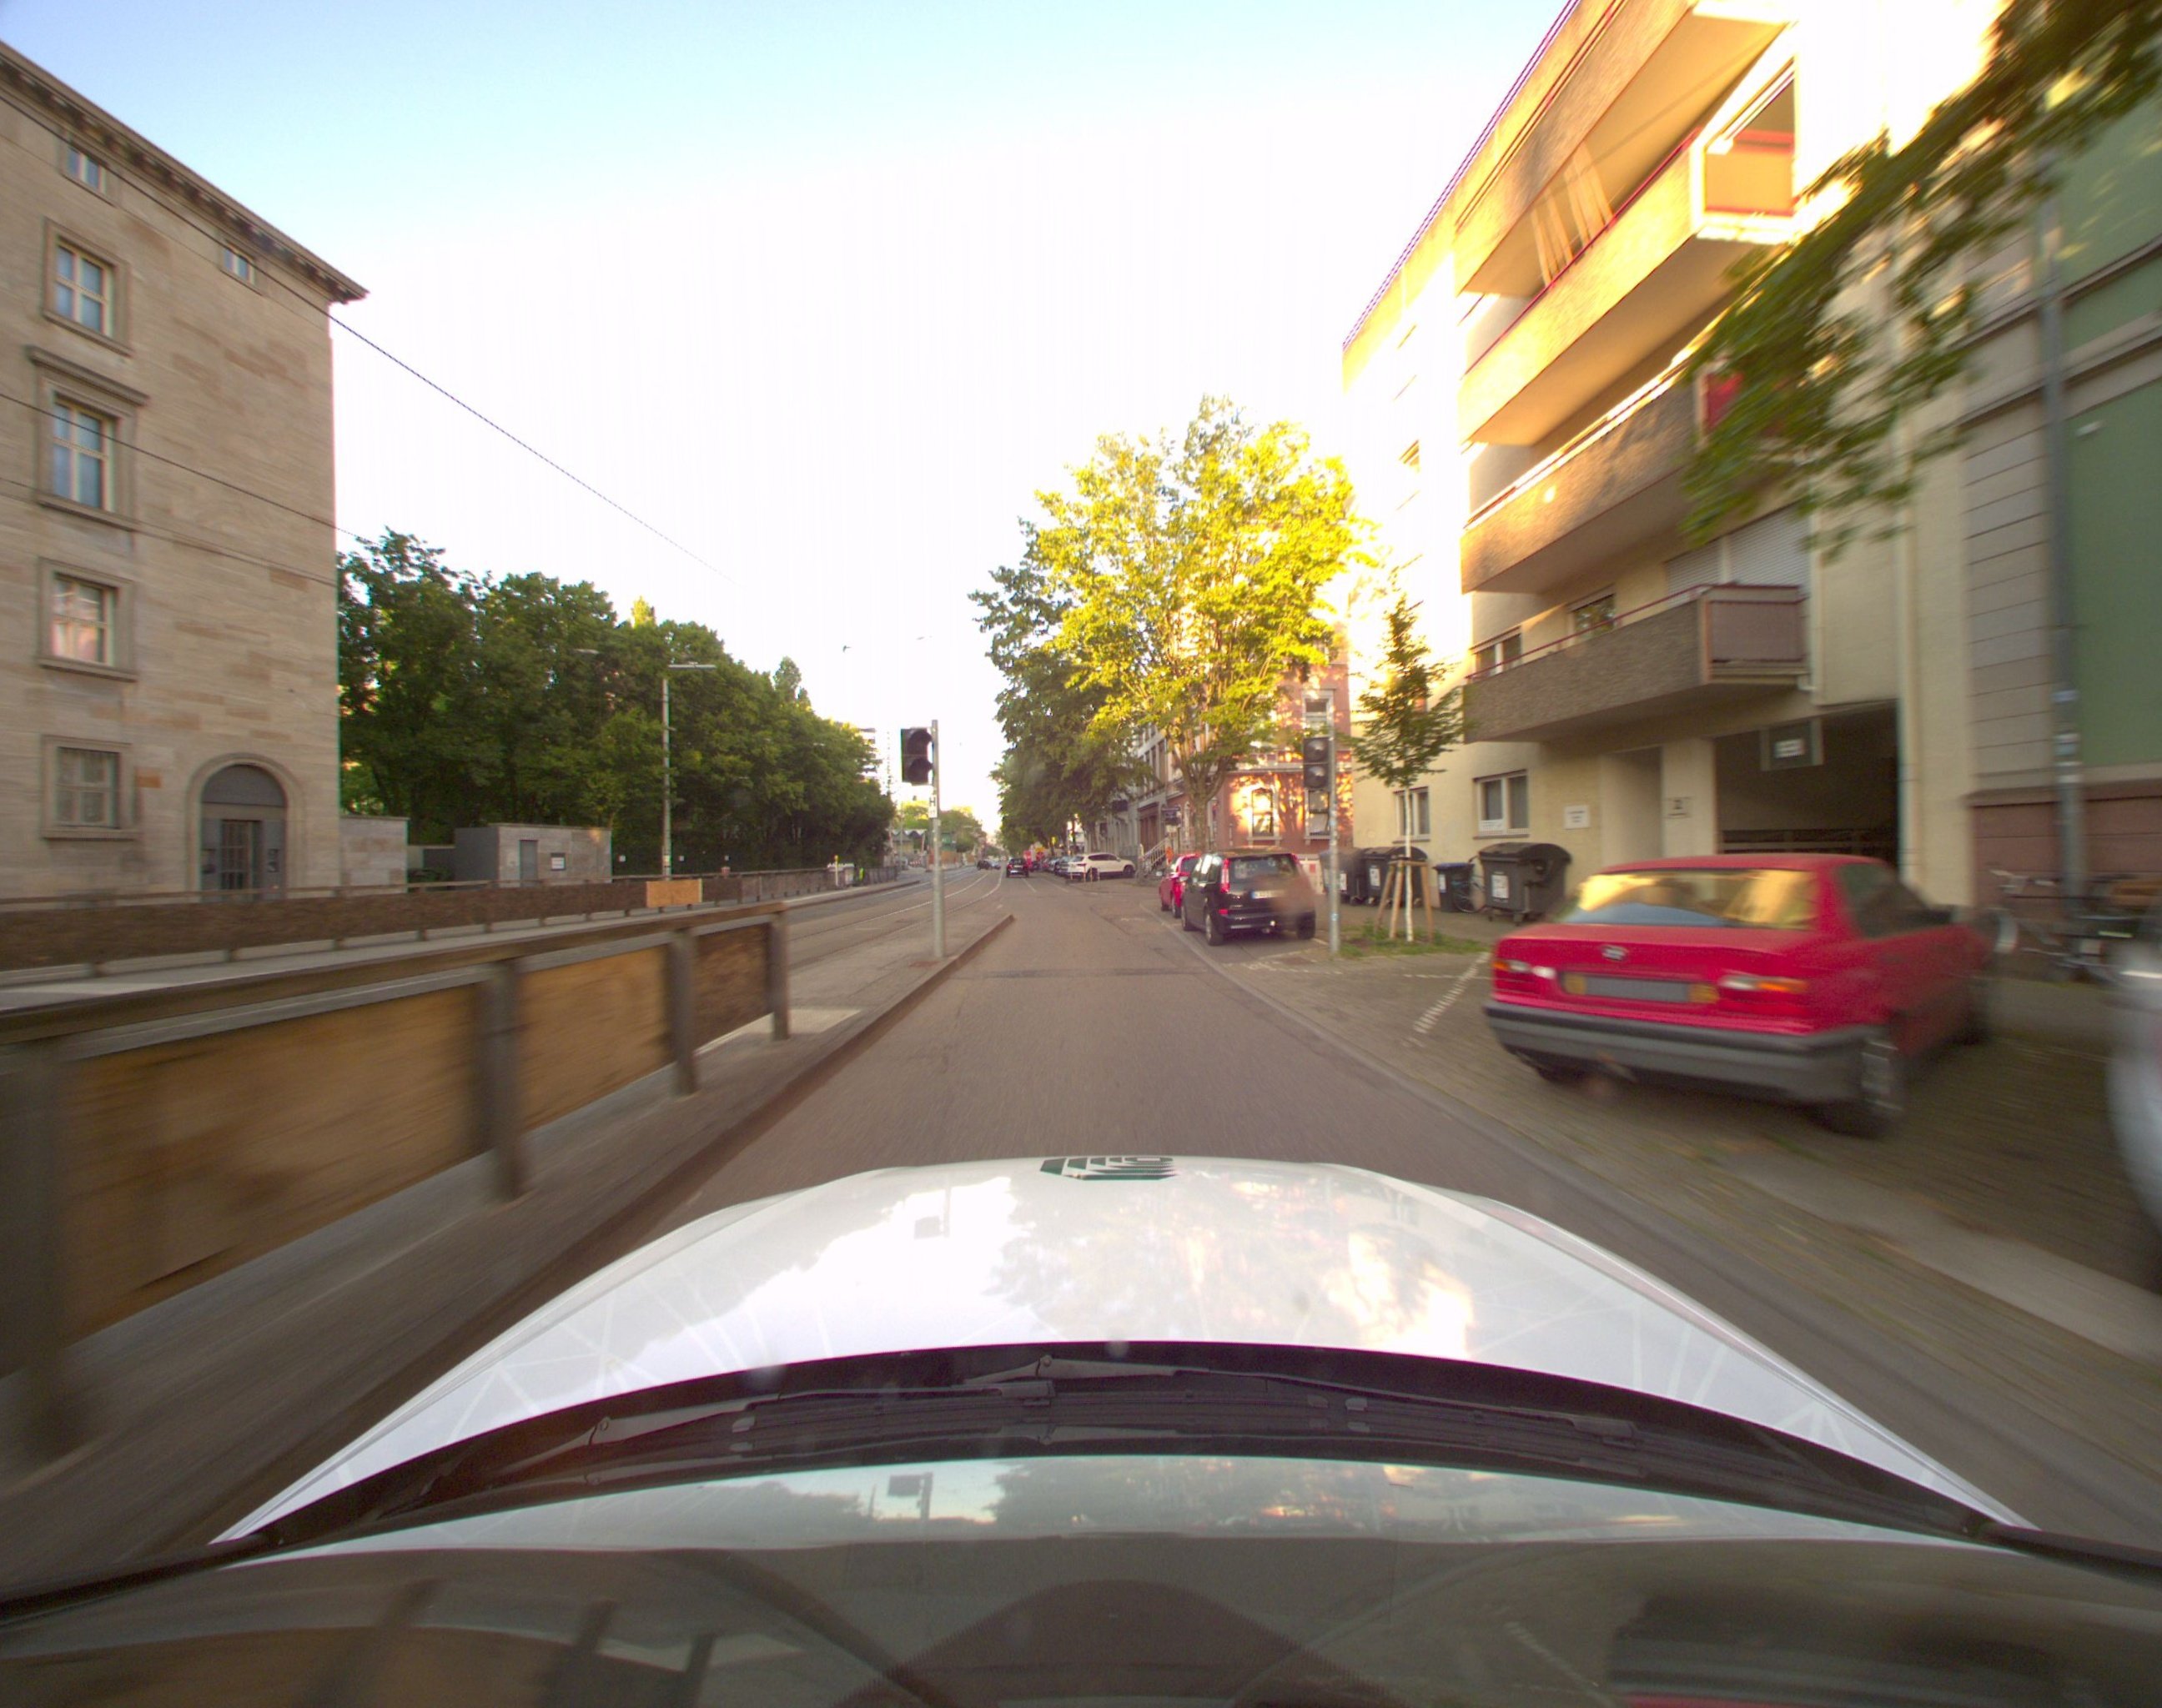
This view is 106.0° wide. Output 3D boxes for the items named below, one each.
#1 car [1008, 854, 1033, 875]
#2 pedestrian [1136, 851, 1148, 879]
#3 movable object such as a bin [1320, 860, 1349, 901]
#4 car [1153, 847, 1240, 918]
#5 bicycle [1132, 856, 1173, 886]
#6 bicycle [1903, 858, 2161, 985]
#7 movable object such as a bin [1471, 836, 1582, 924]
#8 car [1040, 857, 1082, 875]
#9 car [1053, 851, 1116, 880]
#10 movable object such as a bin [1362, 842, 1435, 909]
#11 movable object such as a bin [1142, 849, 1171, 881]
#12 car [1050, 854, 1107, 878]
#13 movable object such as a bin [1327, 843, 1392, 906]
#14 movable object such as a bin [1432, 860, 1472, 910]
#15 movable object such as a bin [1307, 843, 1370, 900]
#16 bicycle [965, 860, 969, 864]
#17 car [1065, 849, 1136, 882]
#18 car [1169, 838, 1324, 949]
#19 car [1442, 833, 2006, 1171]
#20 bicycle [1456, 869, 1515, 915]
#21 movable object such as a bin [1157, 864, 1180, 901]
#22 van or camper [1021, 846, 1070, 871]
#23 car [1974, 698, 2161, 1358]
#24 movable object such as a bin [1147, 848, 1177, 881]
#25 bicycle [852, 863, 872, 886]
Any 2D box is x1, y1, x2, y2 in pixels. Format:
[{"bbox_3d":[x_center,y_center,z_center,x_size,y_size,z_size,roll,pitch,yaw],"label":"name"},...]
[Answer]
[{"bbox_3d":[-4.864,0.827,64.839,1.879,1.620,3.992,1,-1,-6],"label":"car"},{"bbox_3d":[3.541,0.663,47.484,0.585,1.609,0.623,-1,0,-5],"label":"pedestrian"},{"bbox_3d":[6.730,0.693,21.646,0.553,1.047,0.569,-1,0,-7],"label":"movable object such as a bin"},{"bbox_3d":[2.810,0.654,20.500,1.560,1.536,3.692,-3,0,-1],"label":"car"},{"bbox_3d":[3.180,0.760,36.244,1.928,1.266,0.594,-1,-1,-40],"label":"bicycle"},{"bbox_3d":[8.981,0.577,7.758,0.650,1.074,1.553,-1,0,-6],"label":"bicycle"},{"bbox_3d":[8.061,0.451,14.826,1.112,1.502,1.479,-1,0,-6],"label":"movable object such as a bin"},{"bbox_3d":[-2.047,1.260,84.174,3.969,1.603,1.821,-4,0,-32],"label":"car"},{"bbox_3d":[0.269,0.780,55.724,3.977,1.668,1.878,-4,0,-43],"label":"car"},{"bbox_3d":[7.492,0.491,19.298,1.139,1.502,1.268,-1,0,-6],"label":"movable object such as a bin"},{"bbox_3d":[3.650,0.534,39.412,1.139,1.502,1.396,-1,0,-6],"label":"movable object such as a bin"},{"bbox_3d":[-0.185,0.884,62.029,3.974,1.603,1.819,-3,-1,-38],"label":"car"},{"bbox_3d":[7.014,0.503,20.610,1.071,1.502,1.315,-1,0,-8],"label":"movable object such as a bin"},{"bbox_3d":[7.943,0.654,17.454,0.553,1.047,0.569,-1,0,-7],"label":"movable object such as a bin"},{"bbox_3d":[7.204,0.474,22.864,1.139,1.502,1.595,-1,0,-6],"label":"movable object such as a bin"},{"bbox_3d":[-27.369,1.894,196.171,0.947,0.849,2.689,-1,0,-8],"label":"bicycle"},{"bbox_3d":[1.168,0.661,47.828,3.973,1.626,1.655,-4,1,-36],"label":"car"},{"bbox_3d":[2.813,0.624,14.751,1.739,1.632,4.084,-3,0,-3],"label":"car"},{"bbox_3d":[4.382,0.621,5.347,4.226,1.454,1.628,-1,0,-33],"label":"car"},{"bbox_3d":[8.188,0.756,16.541,0.413,0.864,1.220,-1,0,-11],"label":"bicycle"},{"bbox_3d":[2.744,0.891,25.575,0.709,1.153,0.589,-1,0,6],"label":"movable object such as a bin"},{"bbox_3d":[-4.142,0.565,95.940,5.579,2.530,2.062,-4,0,-40],"label":"van or camper"},{"bbox_3d":[4.796,0.426,3.038,4.231,1.725,1.702,-1,0,-39],"label":"car"},{"bbox_3d":[3.770,0.487,37.948,1.139,1.502,1.396,-1,0,-6],"label":"movable object such as a bin"},{"bbox_3d":[-11.051,1.021,41.160,0.461,1.075,2.020,-2,0,-1],"label":"bicycle"}]
